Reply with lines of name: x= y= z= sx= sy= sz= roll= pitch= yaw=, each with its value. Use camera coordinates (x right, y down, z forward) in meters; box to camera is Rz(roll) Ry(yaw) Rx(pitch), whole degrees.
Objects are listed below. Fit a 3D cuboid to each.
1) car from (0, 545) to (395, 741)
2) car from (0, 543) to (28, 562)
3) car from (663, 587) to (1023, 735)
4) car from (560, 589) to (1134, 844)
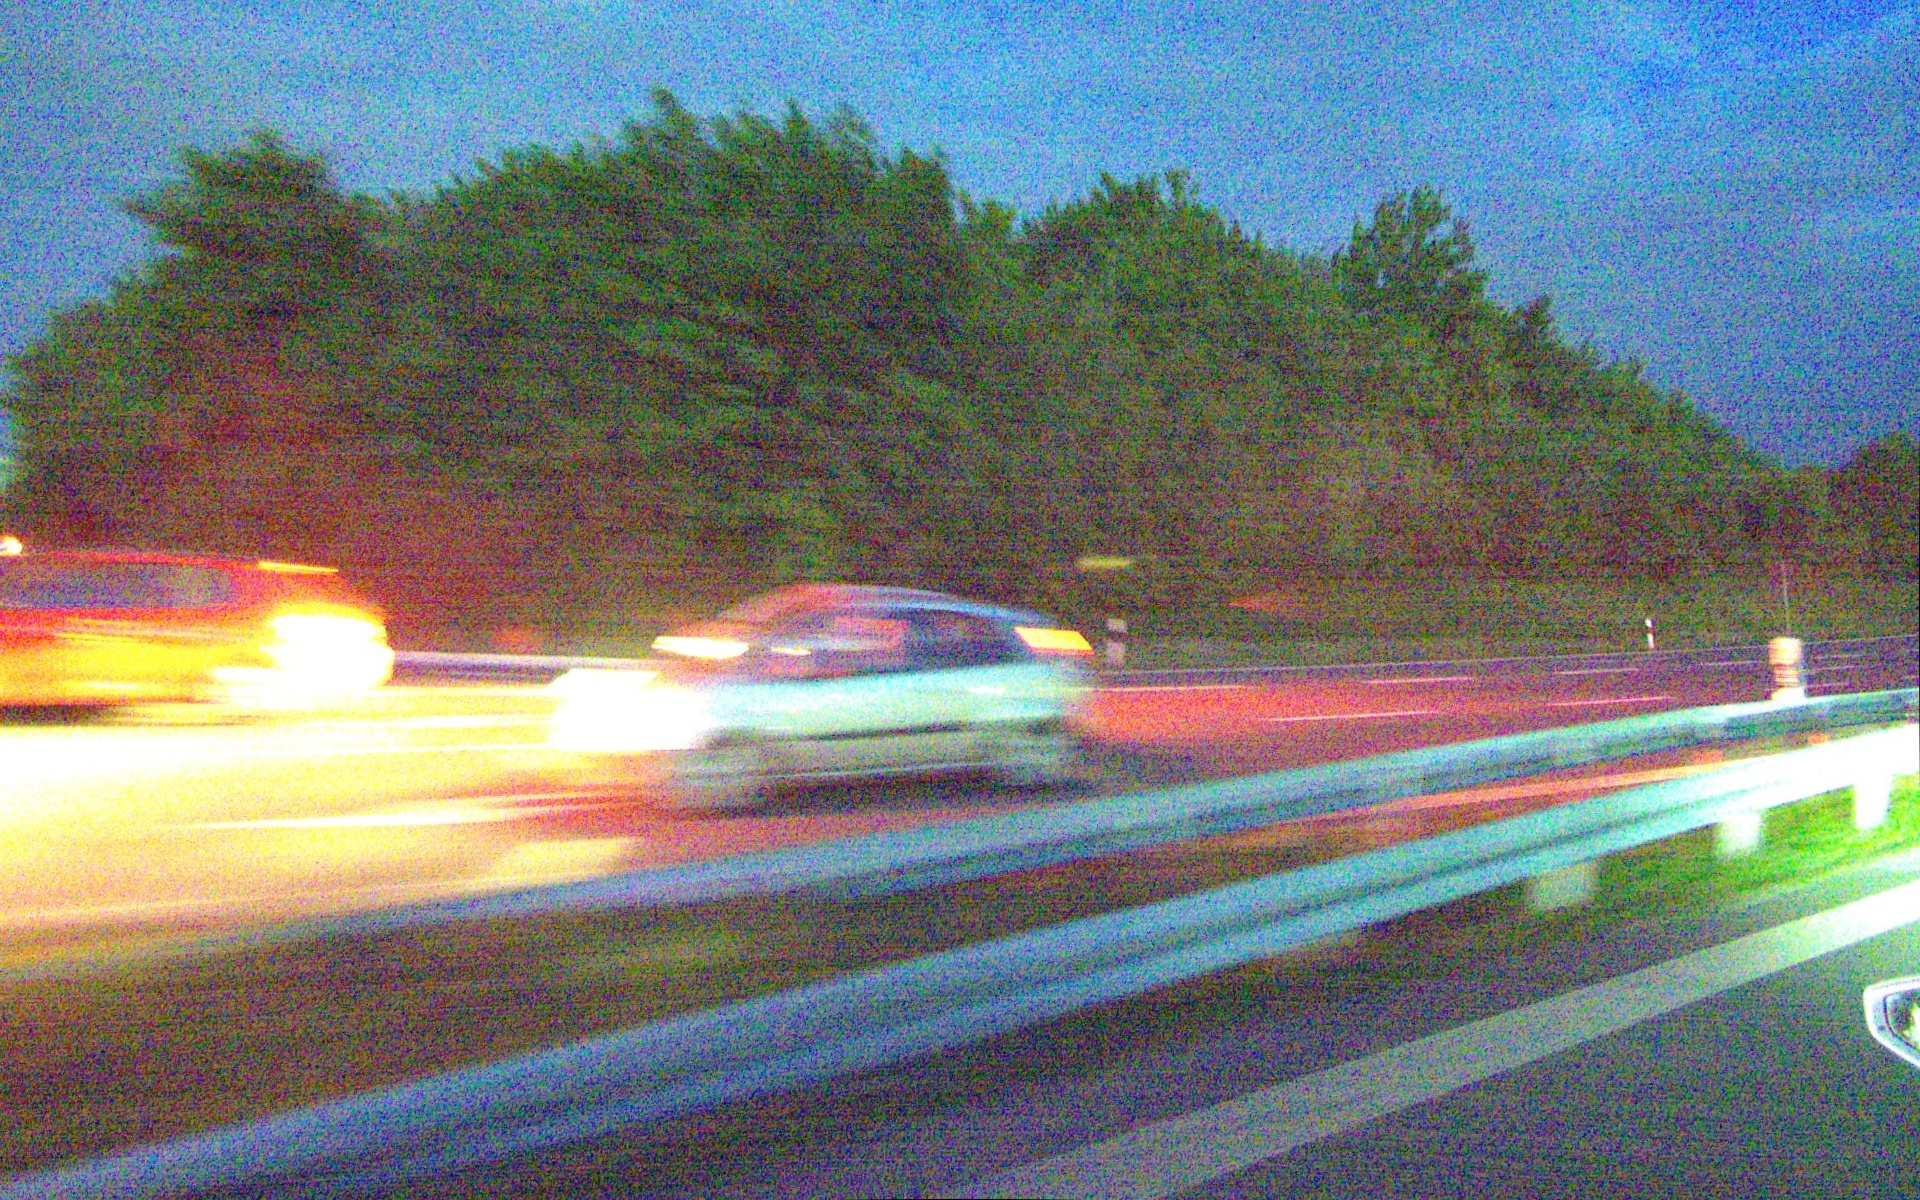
car: x=-7.321 y=0.339 z=8.851 sx=3.950 sy=1.480 sz=1.747 roll=3 pitch=2 yaw=-28
car: x=-86.915 y=-4.327 z=92.140 sx=1.535 sy=1.539 sz=3.481 roll=5 pitch=-1 yaw=-35
car: x=-1.332 y=0.658 z=11.612 sx=3.764 sy=1.479 sz=1.677 roll=2 pitch=0 yaw=-27
car: x=-0.809 y=0.711 z=7.543 sx=3.934 sy=1.463 sz=1.703 roll=1 pitch=1 yaw=-27
